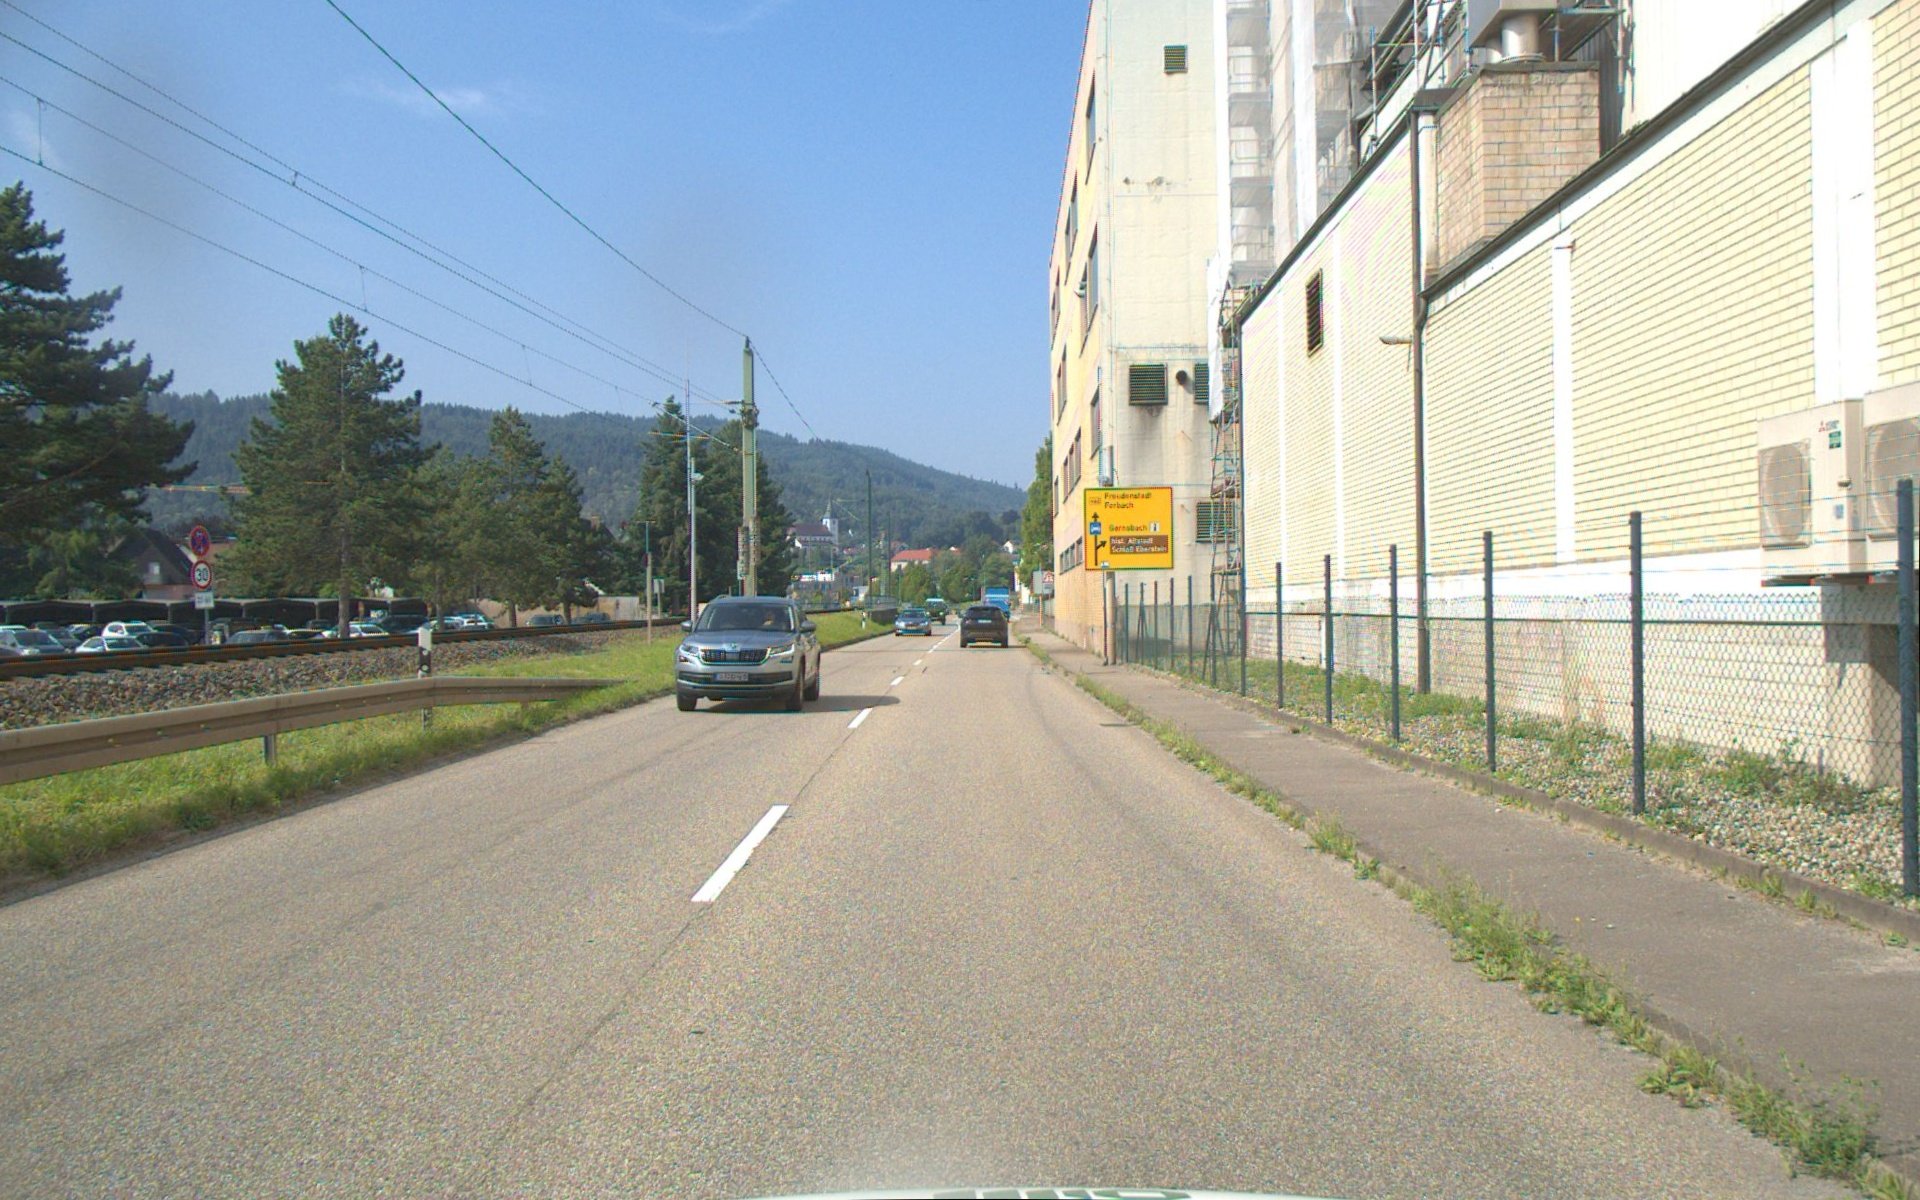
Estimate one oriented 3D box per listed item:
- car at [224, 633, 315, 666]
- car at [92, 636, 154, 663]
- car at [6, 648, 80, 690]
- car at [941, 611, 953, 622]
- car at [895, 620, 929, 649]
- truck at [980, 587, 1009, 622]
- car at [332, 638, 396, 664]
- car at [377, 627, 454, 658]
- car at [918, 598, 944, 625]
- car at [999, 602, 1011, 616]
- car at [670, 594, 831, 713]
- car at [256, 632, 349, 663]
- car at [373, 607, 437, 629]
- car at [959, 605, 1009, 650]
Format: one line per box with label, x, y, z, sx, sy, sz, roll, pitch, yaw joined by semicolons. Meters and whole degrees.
car;-31.195;2.232;74.795;1.494;1.381;3.496;-2;0;44
car;-44.532;2.618;87.975;3.463;1.348;1.453;-2;-1;34
car;-35.723;2.655;64.409;1.674;1.533;3.792;-1;-1;-43
car;-1.944;2.359;240.741;1.706;1.533;4.199;0;0;0
car;-2.536;1.845;88.657;1.732;1.430;4.296;-1;0;-1
truck;3.090;0.399;149.106;2.265;3.022;5.964;-1;0;-1
car;-32.390;2.773;89.853;3.463;1.348;1.453;-2;-1;33
car;-31.816;2.447;96.643;3.949;1.668;1.978;-1;0;-32
car;-2.279;0.895;130.237;1.722;2.114;4.809;1;0;2
car;6.054;1.190;222.769;1.632;1.855;3.752;-1;0;2
car;-3.075;0.768;25.152;1.867;1.628;4.570;0;-1;0
car;-30.977;2.222;78.026;1.535;1.348;3.839;-2;0;39
car;-39.011;1.262;116.323;3.912;1.563;1.815;0;0;-8
car;0.951;1.052;64.436;1.880;1.668;4.001;-1;0;1
